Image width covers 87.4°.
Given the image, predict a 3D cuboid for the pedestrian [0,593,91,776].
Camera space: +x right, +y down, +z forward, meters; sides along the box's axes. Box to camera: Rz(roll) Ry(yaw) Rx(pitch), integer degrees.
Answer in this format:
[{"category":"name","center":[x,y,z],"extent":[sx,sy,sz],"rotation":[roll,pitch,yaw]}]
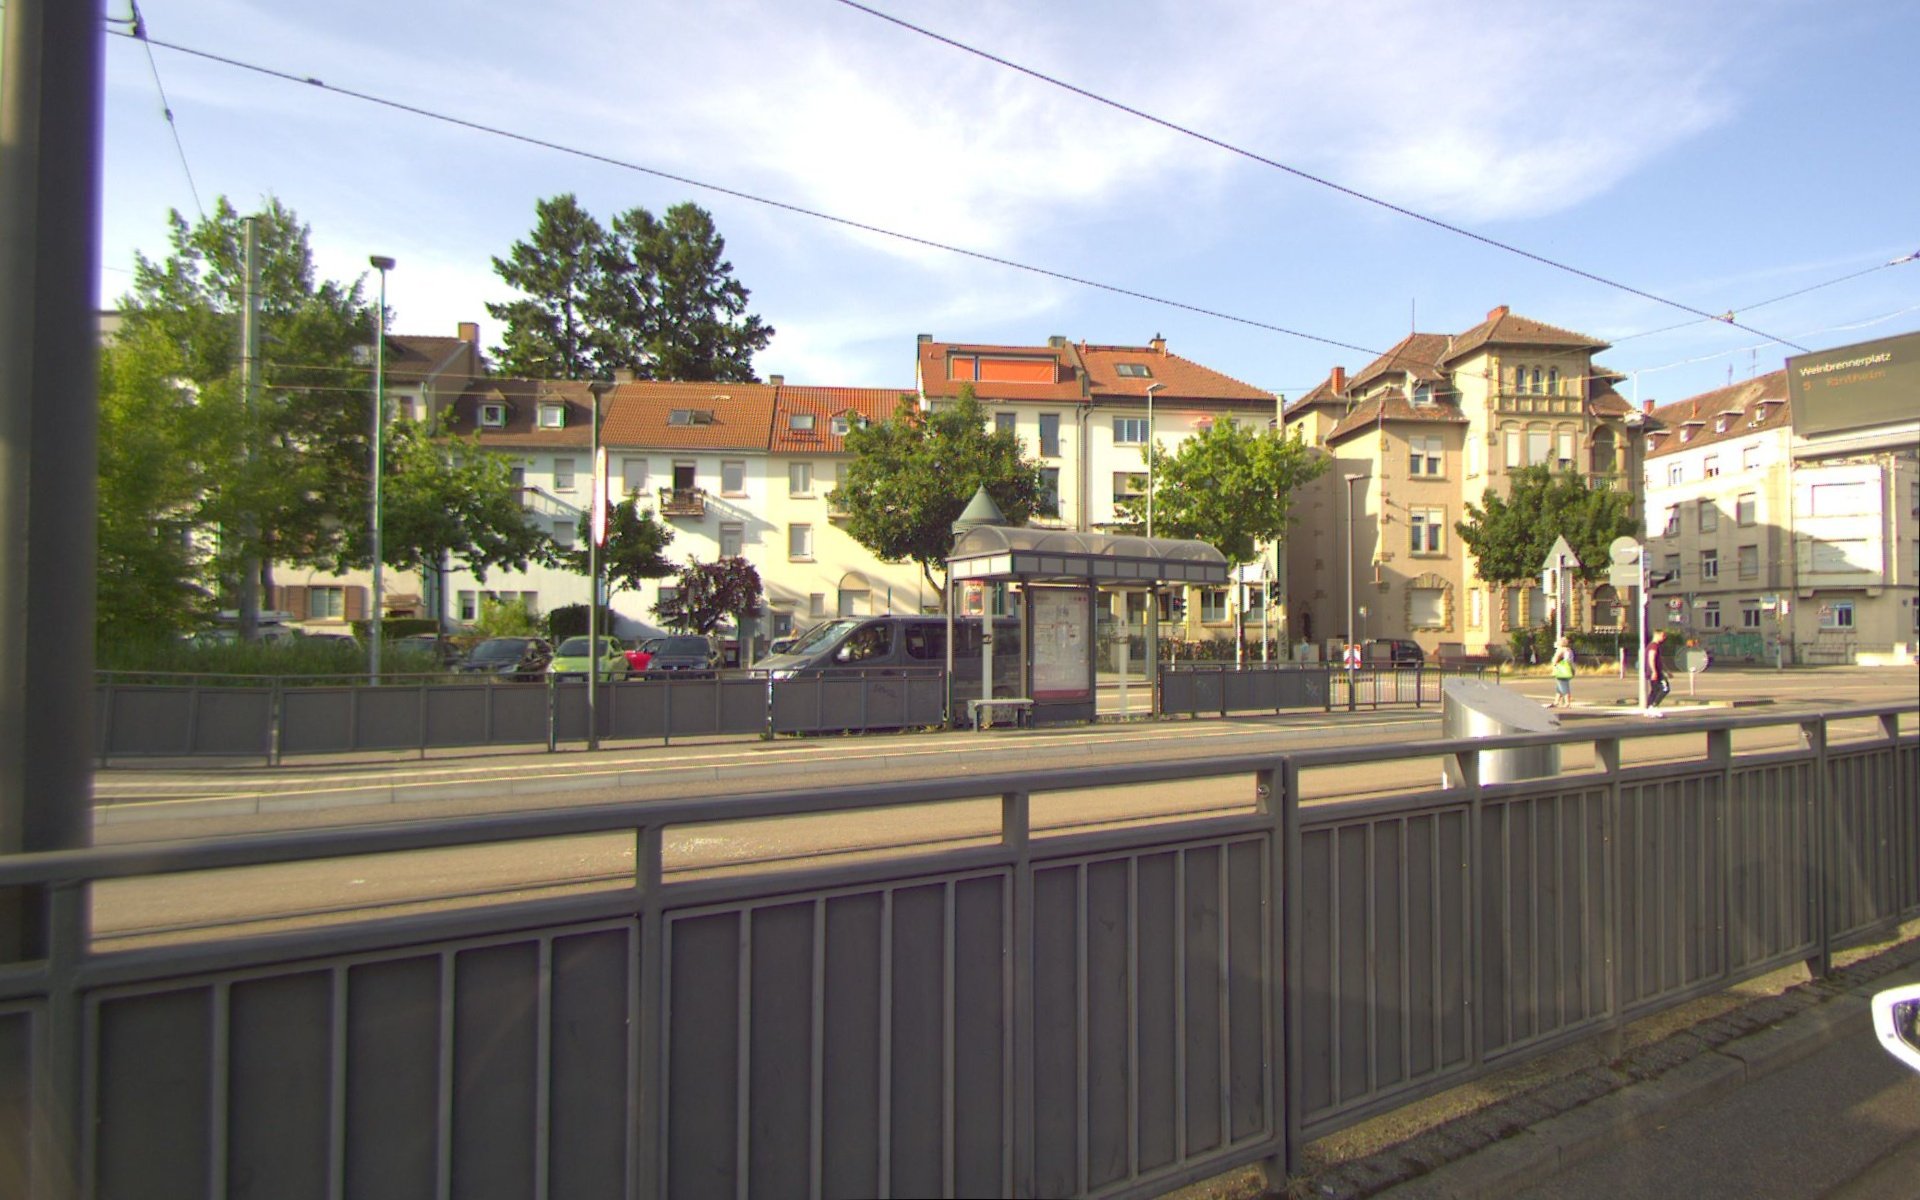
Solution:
[{"category":"pedestrian","center":[-8.750,0.775,9.444],"extent":[0.719,1.649,0.703],"rotation":[1,-2,-30]}]

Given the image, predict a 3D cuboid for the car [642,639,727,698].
[{"category":"car","center":[-7.363,1.795,27.169],"extent":[1.740,1.447,3.995],"rotation":[0,-2,-9]}]

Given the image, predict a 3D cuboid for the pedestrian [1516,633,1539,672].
[{"category":"pedestrian","center":[24.754,2.278,43.816],"extent":[0.592,1.673,0.681],"rotation":[0,-2,-3]}]

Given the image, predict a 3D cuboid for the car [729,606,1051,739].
[{"category":"car","center":[-1.168,1.211,17.751],"extent":[5.323,2.040,2.136],"rotation":[1,-2,-30]}]

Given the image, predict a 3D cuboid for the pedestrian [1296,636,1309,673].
[{"category":"pedestrian","center":[14.523,2.311,42.599],"extent":[0.382,1.535,0.405],"rotation":[0,-2,-3]}]

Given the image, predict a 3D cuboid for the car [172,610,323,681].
[{"category":"car","center":[-19.255,1.220,27.365],"extent":[1.822,1.777,3.993],"rotation":[1,-2,-11]}]

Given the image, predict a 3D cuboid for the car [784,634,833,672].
[{"category":"car","center":[-6.615,2.309,44.181],"extent":[1.821,1.578,3.999],"rotation":[0,-2,-4]}]

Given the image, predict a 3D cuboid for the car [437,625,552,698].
[{"category":"car","center":[-12.267,1.589,26.738],"extent":[1.822,1.777,3.993],"rotation":[1,-2,-11]}]

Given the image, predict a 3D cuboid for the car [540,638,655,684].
[{"category":"car","center":[-12.473,2.092,34.692],"extent":[3.444,1.544,1.567],"rotation":[0,-2,-7]}]

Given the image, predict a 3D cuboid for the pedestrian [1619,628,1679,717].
[{"category":"pedestrian","center":[13.544,1.404,19.744],"extent":[0.870,1.692,0.668],"rotation":[-2,-2,41]}]

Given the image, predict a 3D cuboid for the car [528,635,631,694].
[{"category":"car","center":[-10.025,1.661,26.765],"extent":[1.740,1.447,3.995],"rotation":[0,-2,-9]}]

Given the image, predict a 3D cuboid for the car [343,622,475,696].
[{"category":"car","center":[-14.180,1.494,26.122],"extent":[1.822,1.777,3.993],"rotation":[1,-2,-11]}]

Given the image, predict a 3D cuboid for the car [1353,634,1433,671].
[{"category":"car","center":[20.107,2.401,46.822],"extent":[1.742,1.653,3.998],"rotation":[0,-2,-5]}]

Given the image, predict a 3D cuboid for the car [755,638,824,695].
[{"category":"car","center":[-4.666,1.778,27.795],"extent":[1.740,1.447,3.995],"rotation":[0,-2,-9]}]

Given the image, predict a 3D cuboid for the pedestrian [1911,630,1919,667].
[{"category":"pedestrian","center":[49.927,2.492,52.093],"extent":[0.616,1.905,0.659],"rotation":[0,-2,-15]}]

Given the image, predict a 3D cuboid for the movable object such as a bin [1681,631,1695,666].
[{"category":"movable object such as a bin","center":[36.540,2.427,50.434],"extent":[0.259,1.732,2.379],"rotation":[-1,-2,29]}]

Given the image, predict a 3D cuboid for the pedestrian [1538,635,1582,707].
[{"category":"pedestrian","center":[13.612,1.601,22.793],"extent":[0.708,1.610,0.586],"rotation":[1,-2,-34]}]
